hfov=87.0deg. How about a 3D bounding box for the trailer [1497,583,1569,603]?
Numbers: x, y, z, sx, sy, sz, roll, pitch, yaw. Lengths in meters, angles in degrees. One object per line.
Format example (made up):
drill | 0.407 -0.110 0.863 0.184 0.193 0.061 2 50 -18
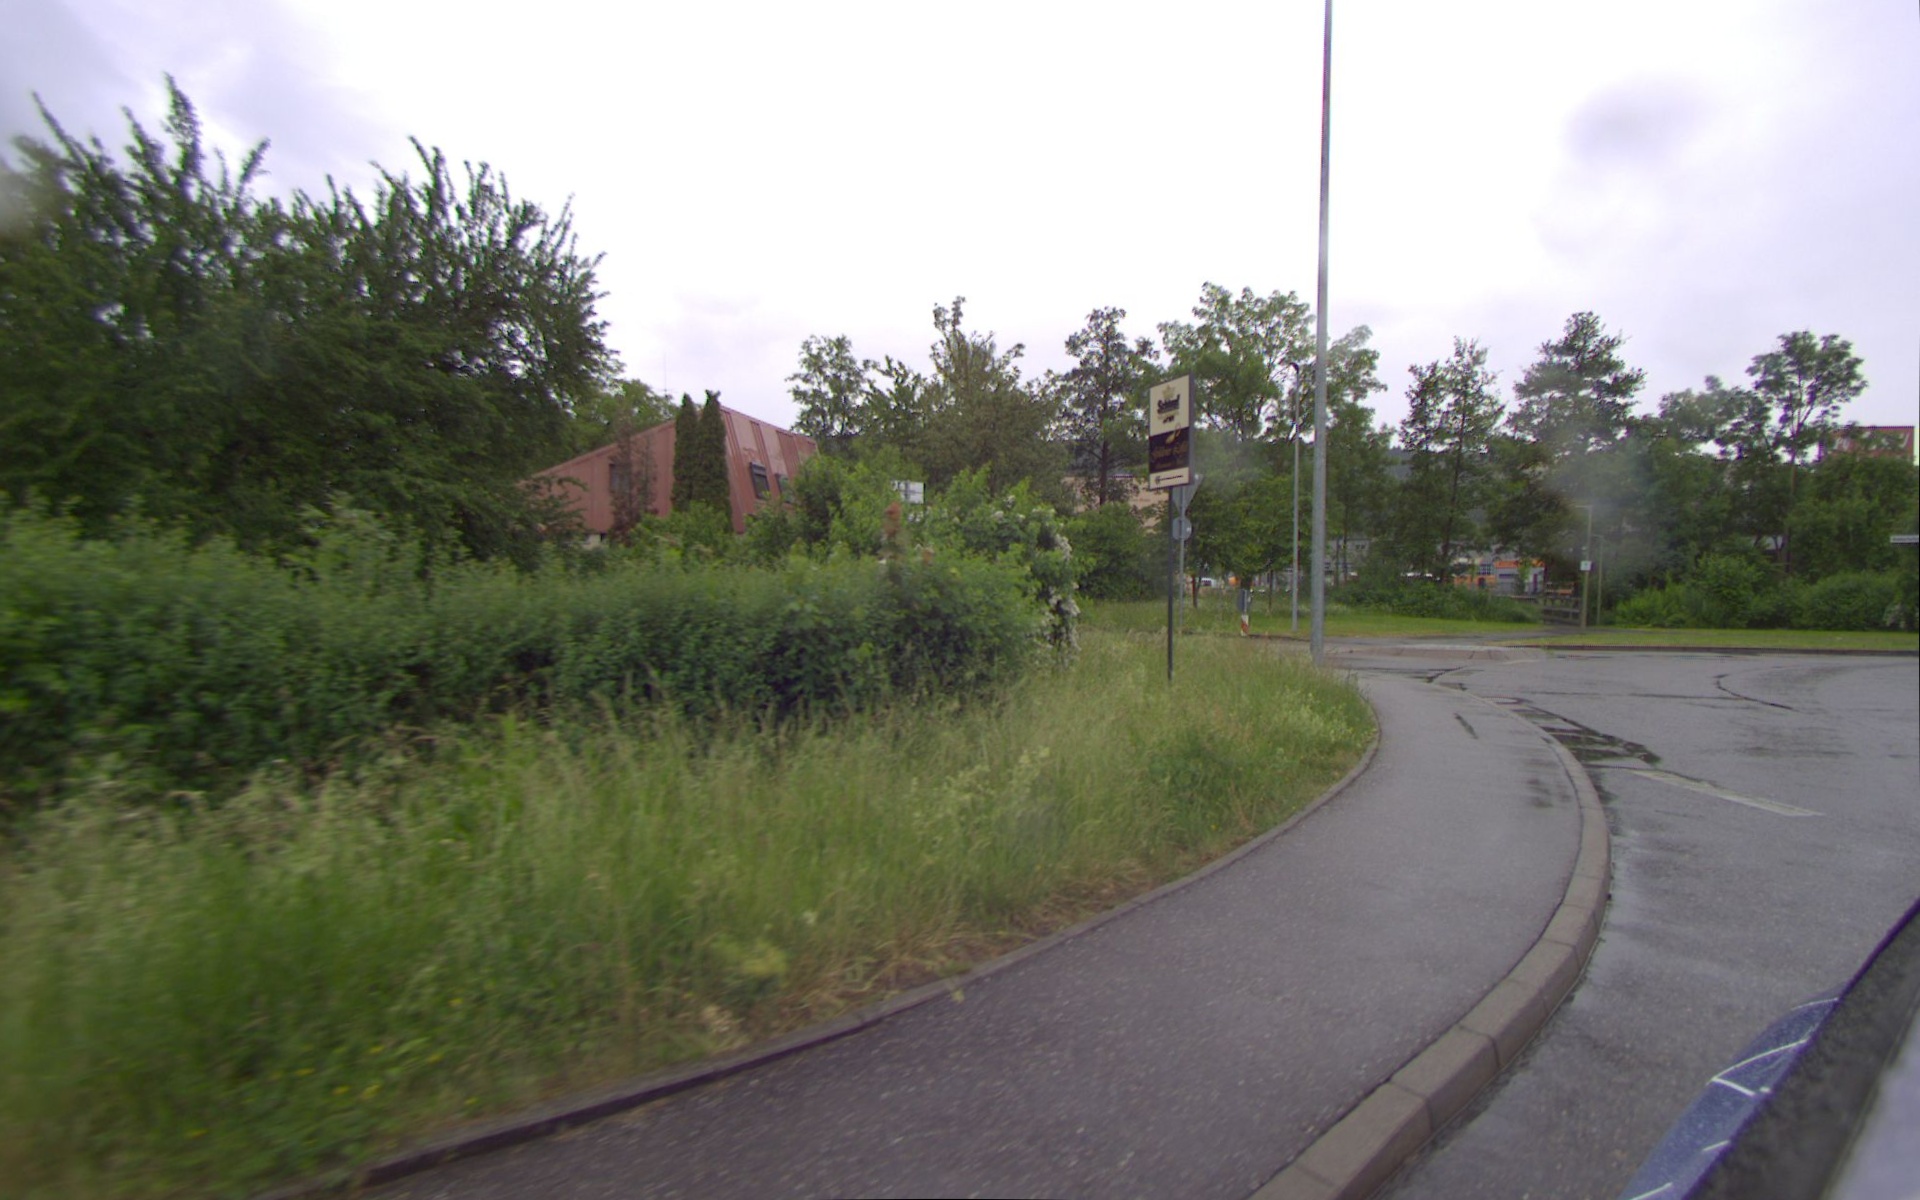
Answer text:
trailer | 61.377 -0.774 108.404 6.585 2.038 2.549 1 2 32
